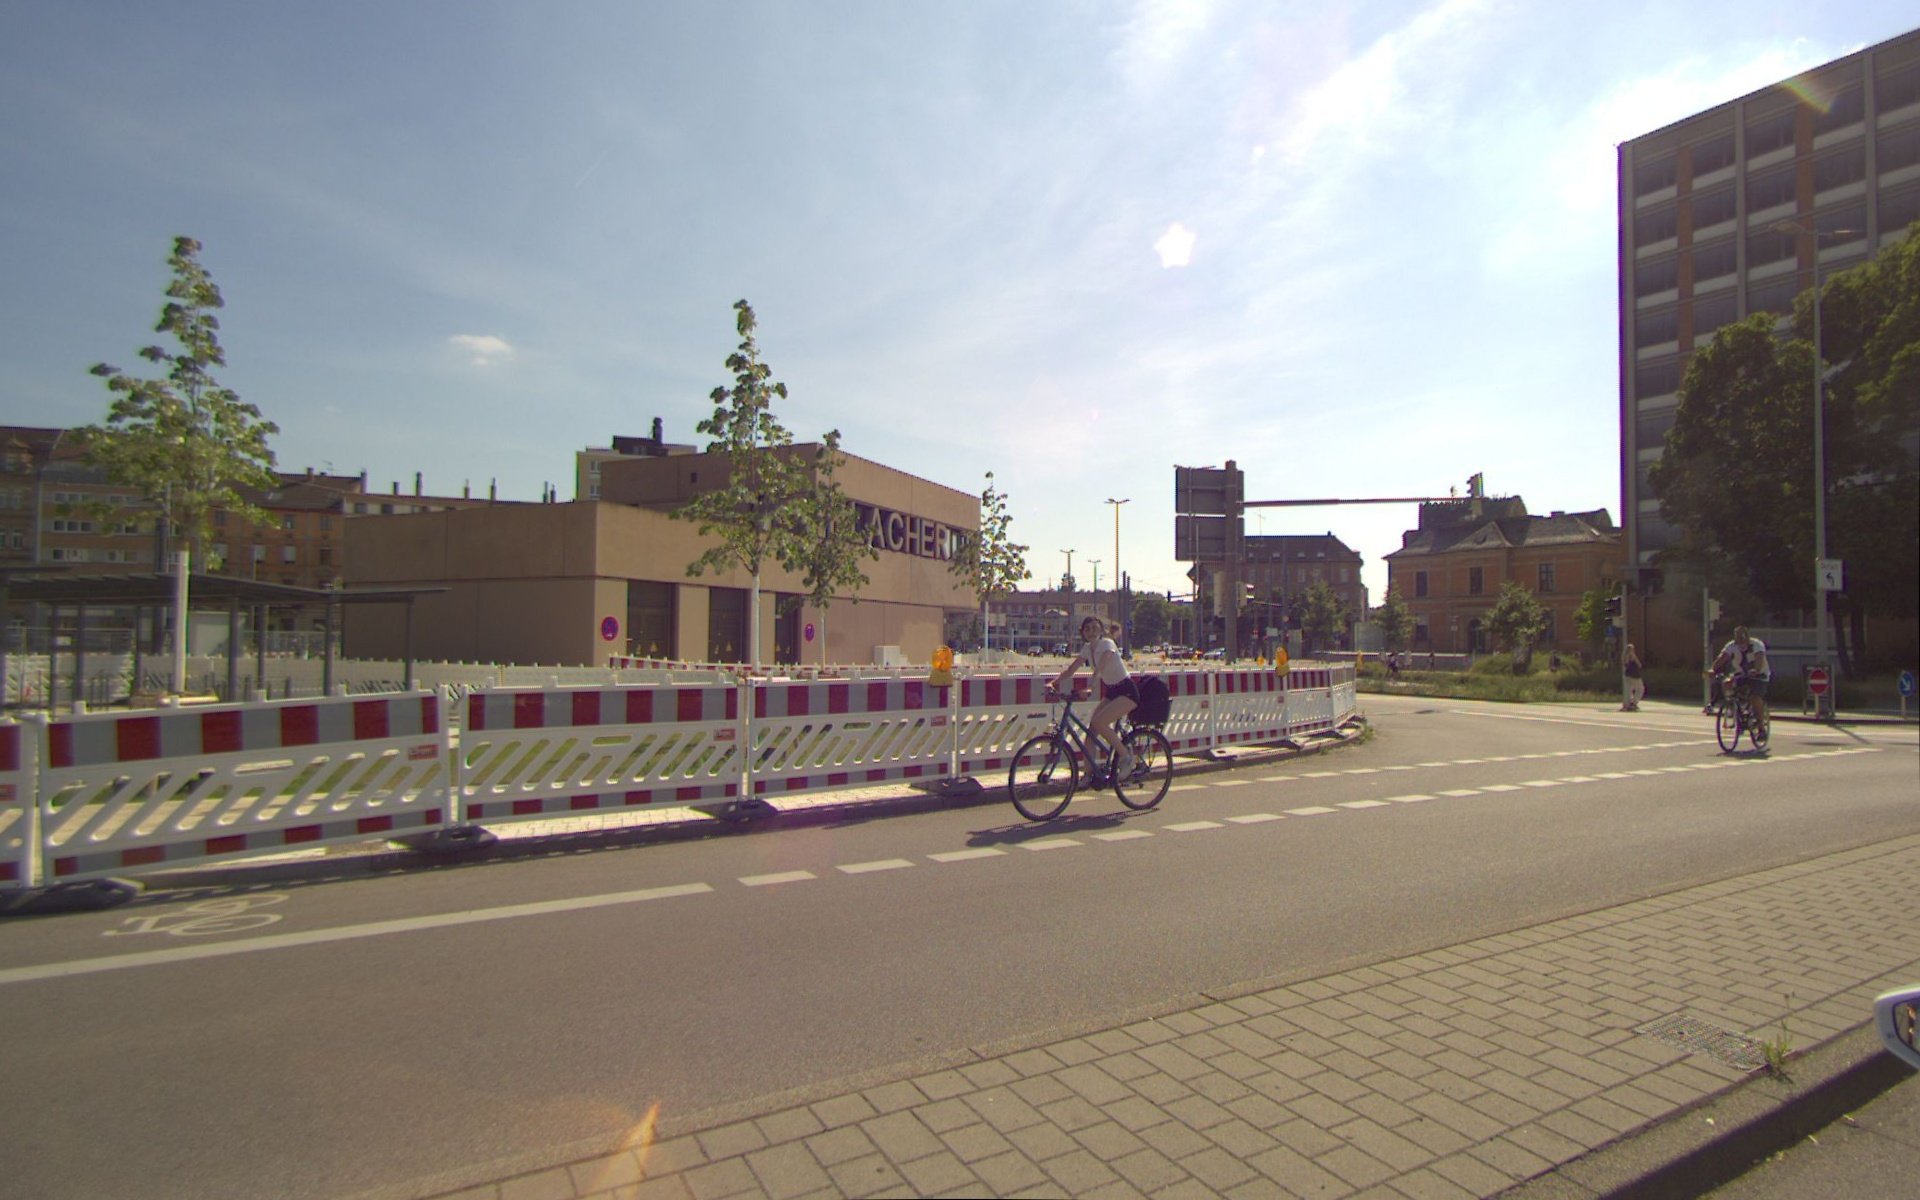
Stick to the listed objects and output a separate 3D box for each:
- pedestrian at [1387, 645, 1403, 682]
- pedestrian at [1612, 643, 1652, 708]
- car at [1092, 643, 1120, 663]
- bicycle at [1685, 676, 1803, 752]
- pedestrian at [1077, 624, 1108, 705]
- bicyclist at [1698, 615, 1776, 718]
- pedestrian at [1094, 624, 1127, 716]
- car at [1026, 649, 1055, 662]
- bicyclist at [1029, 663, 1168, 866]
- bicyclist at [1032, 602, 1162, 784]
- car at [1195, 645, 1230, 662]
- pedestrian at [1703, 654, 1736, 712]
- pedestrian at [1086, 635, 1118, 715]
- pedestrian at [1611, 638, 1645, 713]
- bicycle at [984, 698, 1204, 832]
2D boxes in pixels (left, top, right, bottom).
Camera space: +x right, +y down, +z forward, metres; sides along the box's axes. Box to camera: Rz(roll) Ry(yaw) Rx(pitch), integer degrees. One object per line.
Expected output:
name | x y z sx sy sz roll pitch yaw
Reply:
pedestrian | 24.322 3.537 56.165 0.517 2.040 0.622 2 -3 -34
pedestrian | 18.761 2.110 28.043 0.728 1.775 1.104 -2 -5 44
car | 15.169 5.509 104.345 1.961 2.040 4.000 -1 -3 21
bicycle | 11.352 1.616 14.529 2.008 0.990 0.700 2 -3 -32
pedestrian | 2.991 1.458 22.728 0.559 1.801 0.544 1 -2 -9
bicyclist | 11.199 0.958 14.470 1.019 1.435 0.536 3 -4 -32
pedestrian | 3.226 1.499 21.506 0.595 1.940 0.441 1 -2 -9
car | 11.008 7.556 137.054 3.973 1.739 1.630 3 -4 -44
bicyclist | 1.182 1.352 8.585 1.004 1.602 0.615 2 -5 -35
bicyclist | 1.172 0.782 8.621 0.911 1.462 0.615 2 -5 -35
car | 31.065 6.595 123.770 3.953 2.040 1.984 2 -3 -30
pedestrian | 20.554 2.233 27.189 0.624 1.511 0.613 -2 -3 44
pedestrian | 3.113 1.646 22.090 0.559 1.731 0.539 1 -2 -9
pedestrian | 18.618 2.088 28.010 0.604 2.040 0.687 2 -1 23
bicycle | 1.175 1.351 8.578 1.948 0.973 0.615 2 -5 -35
